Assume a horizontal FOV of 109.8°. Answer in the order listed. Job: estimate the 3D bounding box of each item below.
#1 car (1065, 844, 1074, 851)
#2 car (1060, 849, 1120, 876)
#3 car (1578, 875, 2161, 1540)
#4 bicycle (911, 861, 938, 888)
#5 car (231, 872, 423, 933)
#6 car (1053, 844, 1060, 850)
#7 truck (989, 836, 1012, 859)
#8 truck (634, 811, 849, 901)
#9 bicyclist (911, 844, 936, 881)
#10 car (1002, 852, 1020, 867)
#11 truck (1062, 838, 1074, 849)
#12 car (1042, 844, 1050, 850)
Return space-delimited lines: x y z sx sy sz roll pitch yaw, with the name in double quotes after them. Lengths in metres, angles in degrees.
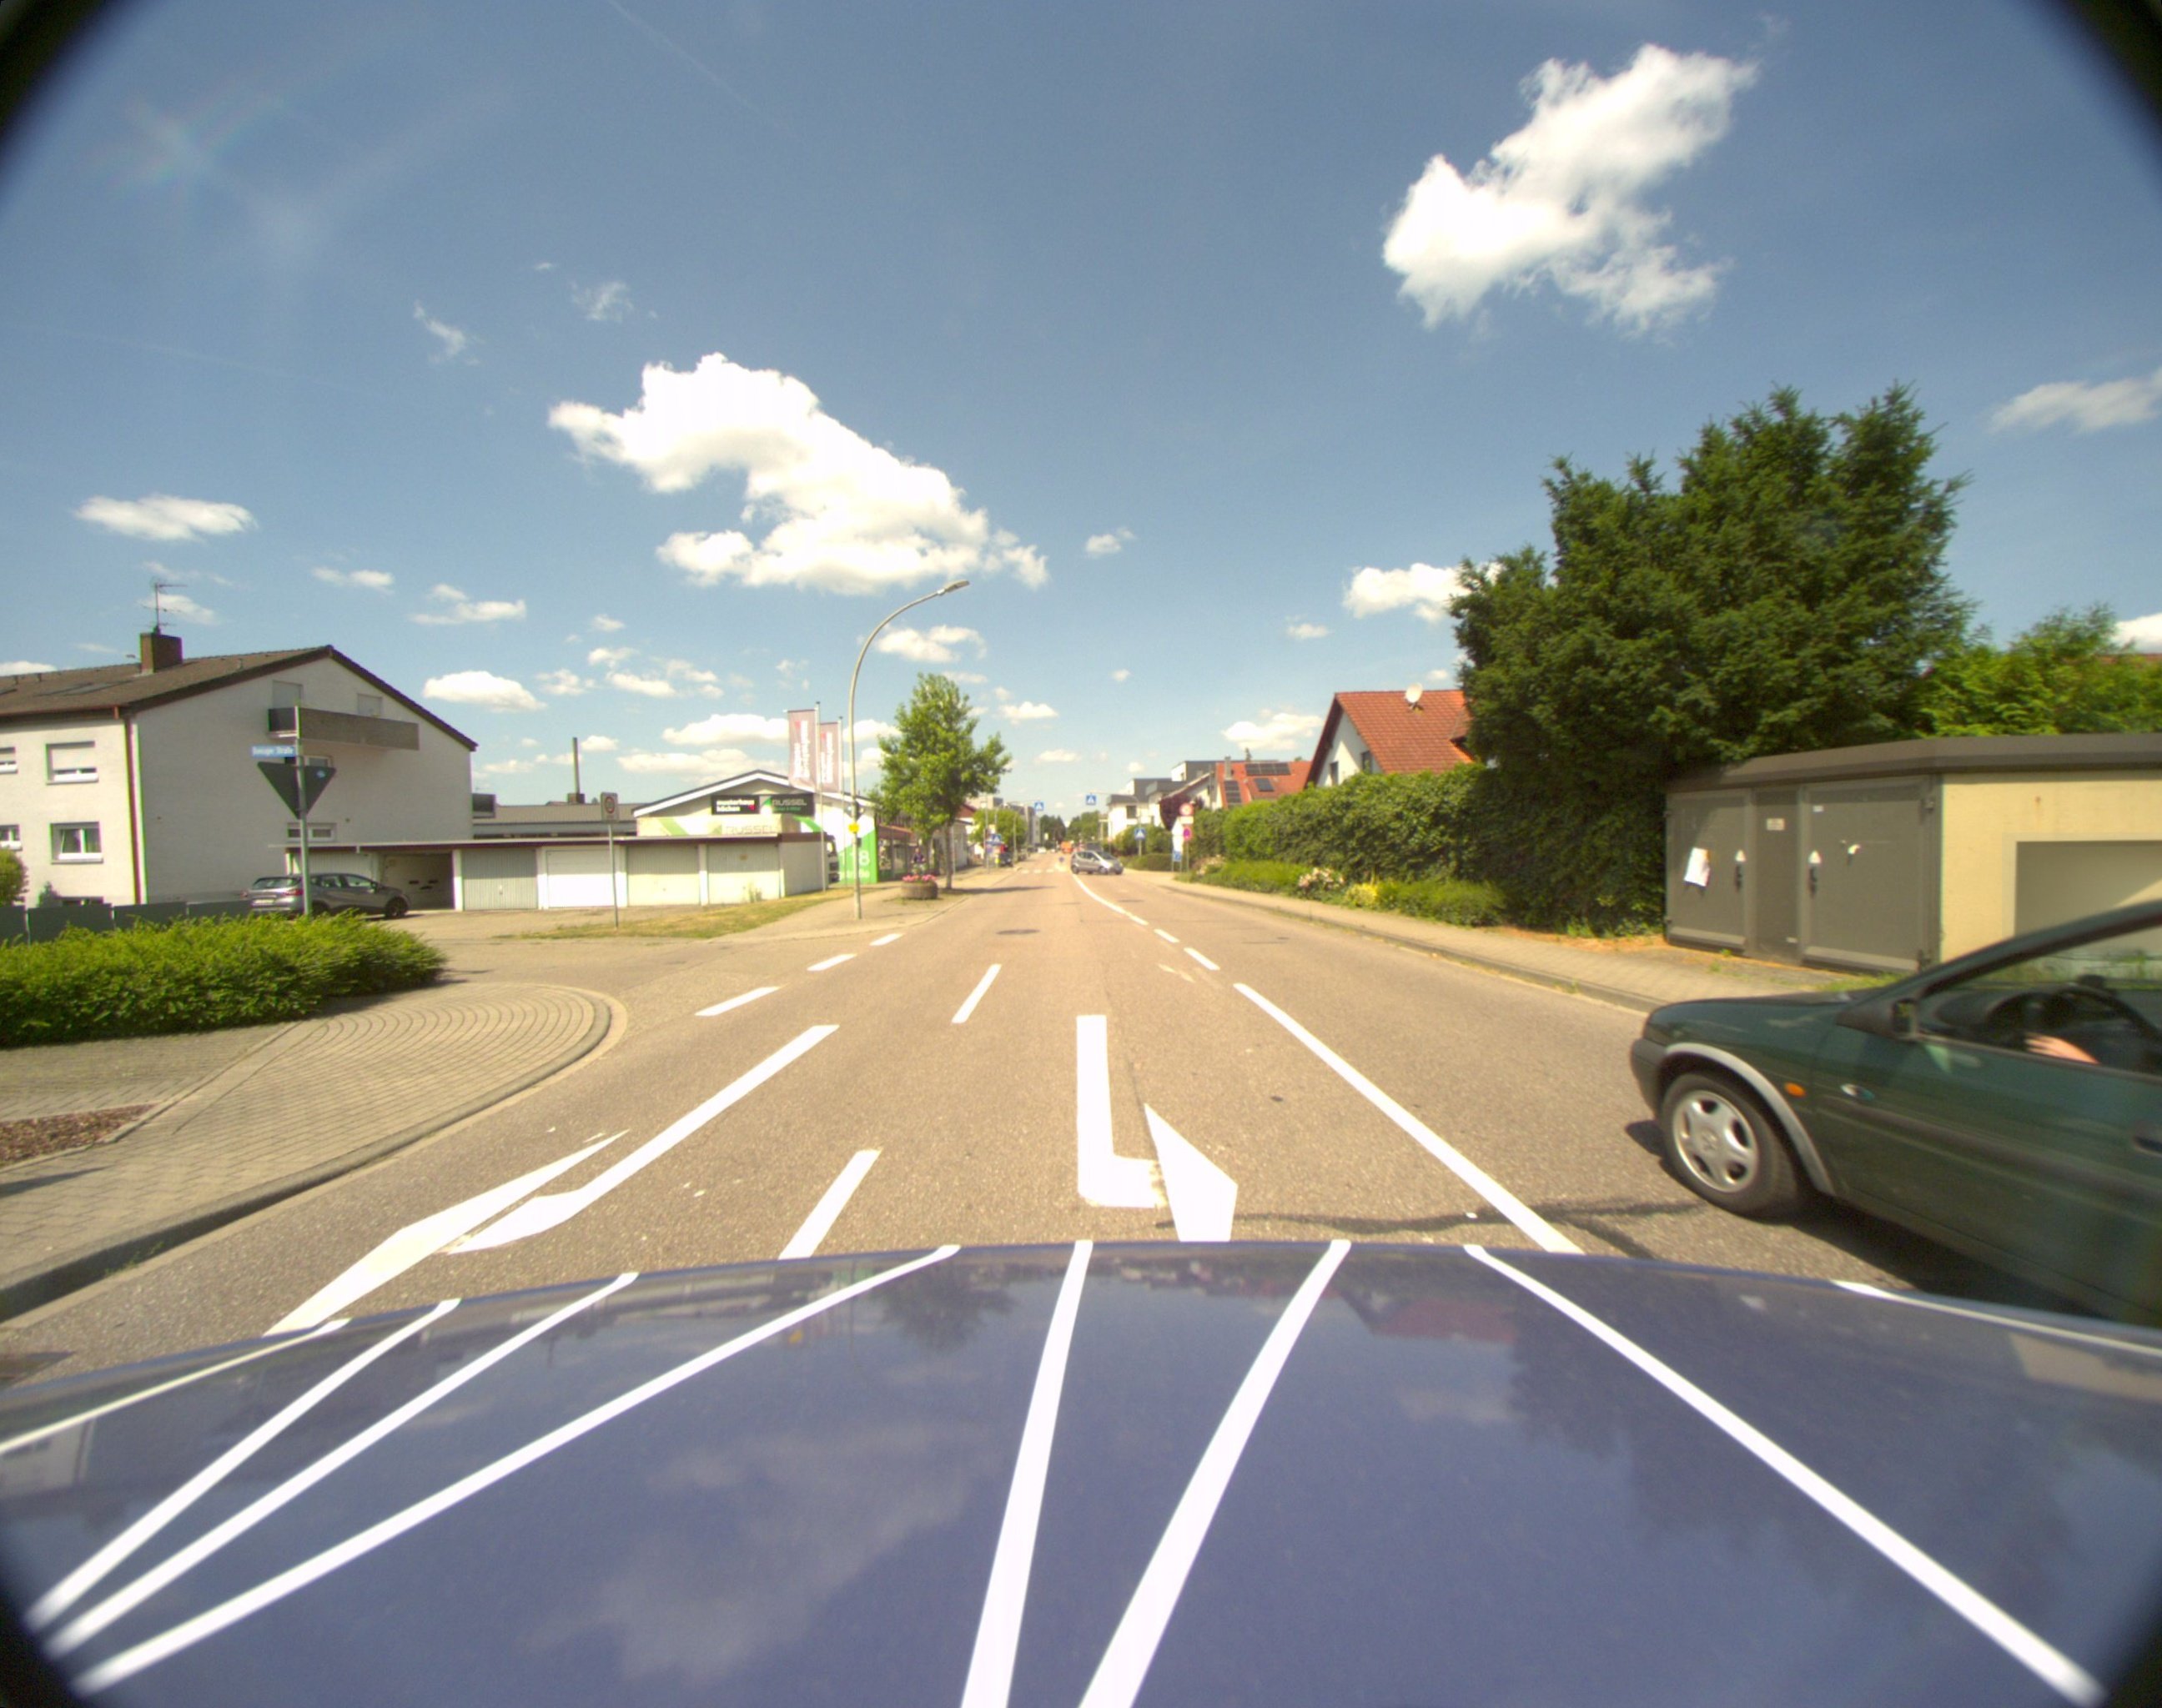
-2.607 -1.397 170.733 1.799 1.480 3.612 0 1 -2 "car"
0.569 0.567 49.757 3.750 1.590 1.727 -3 1 44 "car"
3.373 0.849 1.873 1.784 1.425 3.872 -1 0 1 "car"
-7.251 0.924 35.198 0.805 1.158 1.943 -5 0 -2 "bicycle"
-22.742 1.406 23.192 1.679 1.494 4.130 -2 1 0 "car"
-6.512 -1.842 199.540 1.729 1.484 3.759 0 1 -2 "car"
-10.016 -0.803 93.830 2.581 2.746 6.329 0 1 -8 "truck"
-15.009 0.044 34.097 8.192 3.553 2.676 -2 2 -2 "truck"
-7.293 0.409 35.161 0.805 1.620 1.111 -5 0 -2 "bicyclist"
-7.240 0.520 78.840 1.729 1.484 3.758 0 1 -2 "car"
-3.406 -2.624 191.033 2.865 2.695 6.788 0 1 -2 "truck"
-8.745 -1.653 189.315 1.729 1.484 3.759 0 1 -1 "car"
